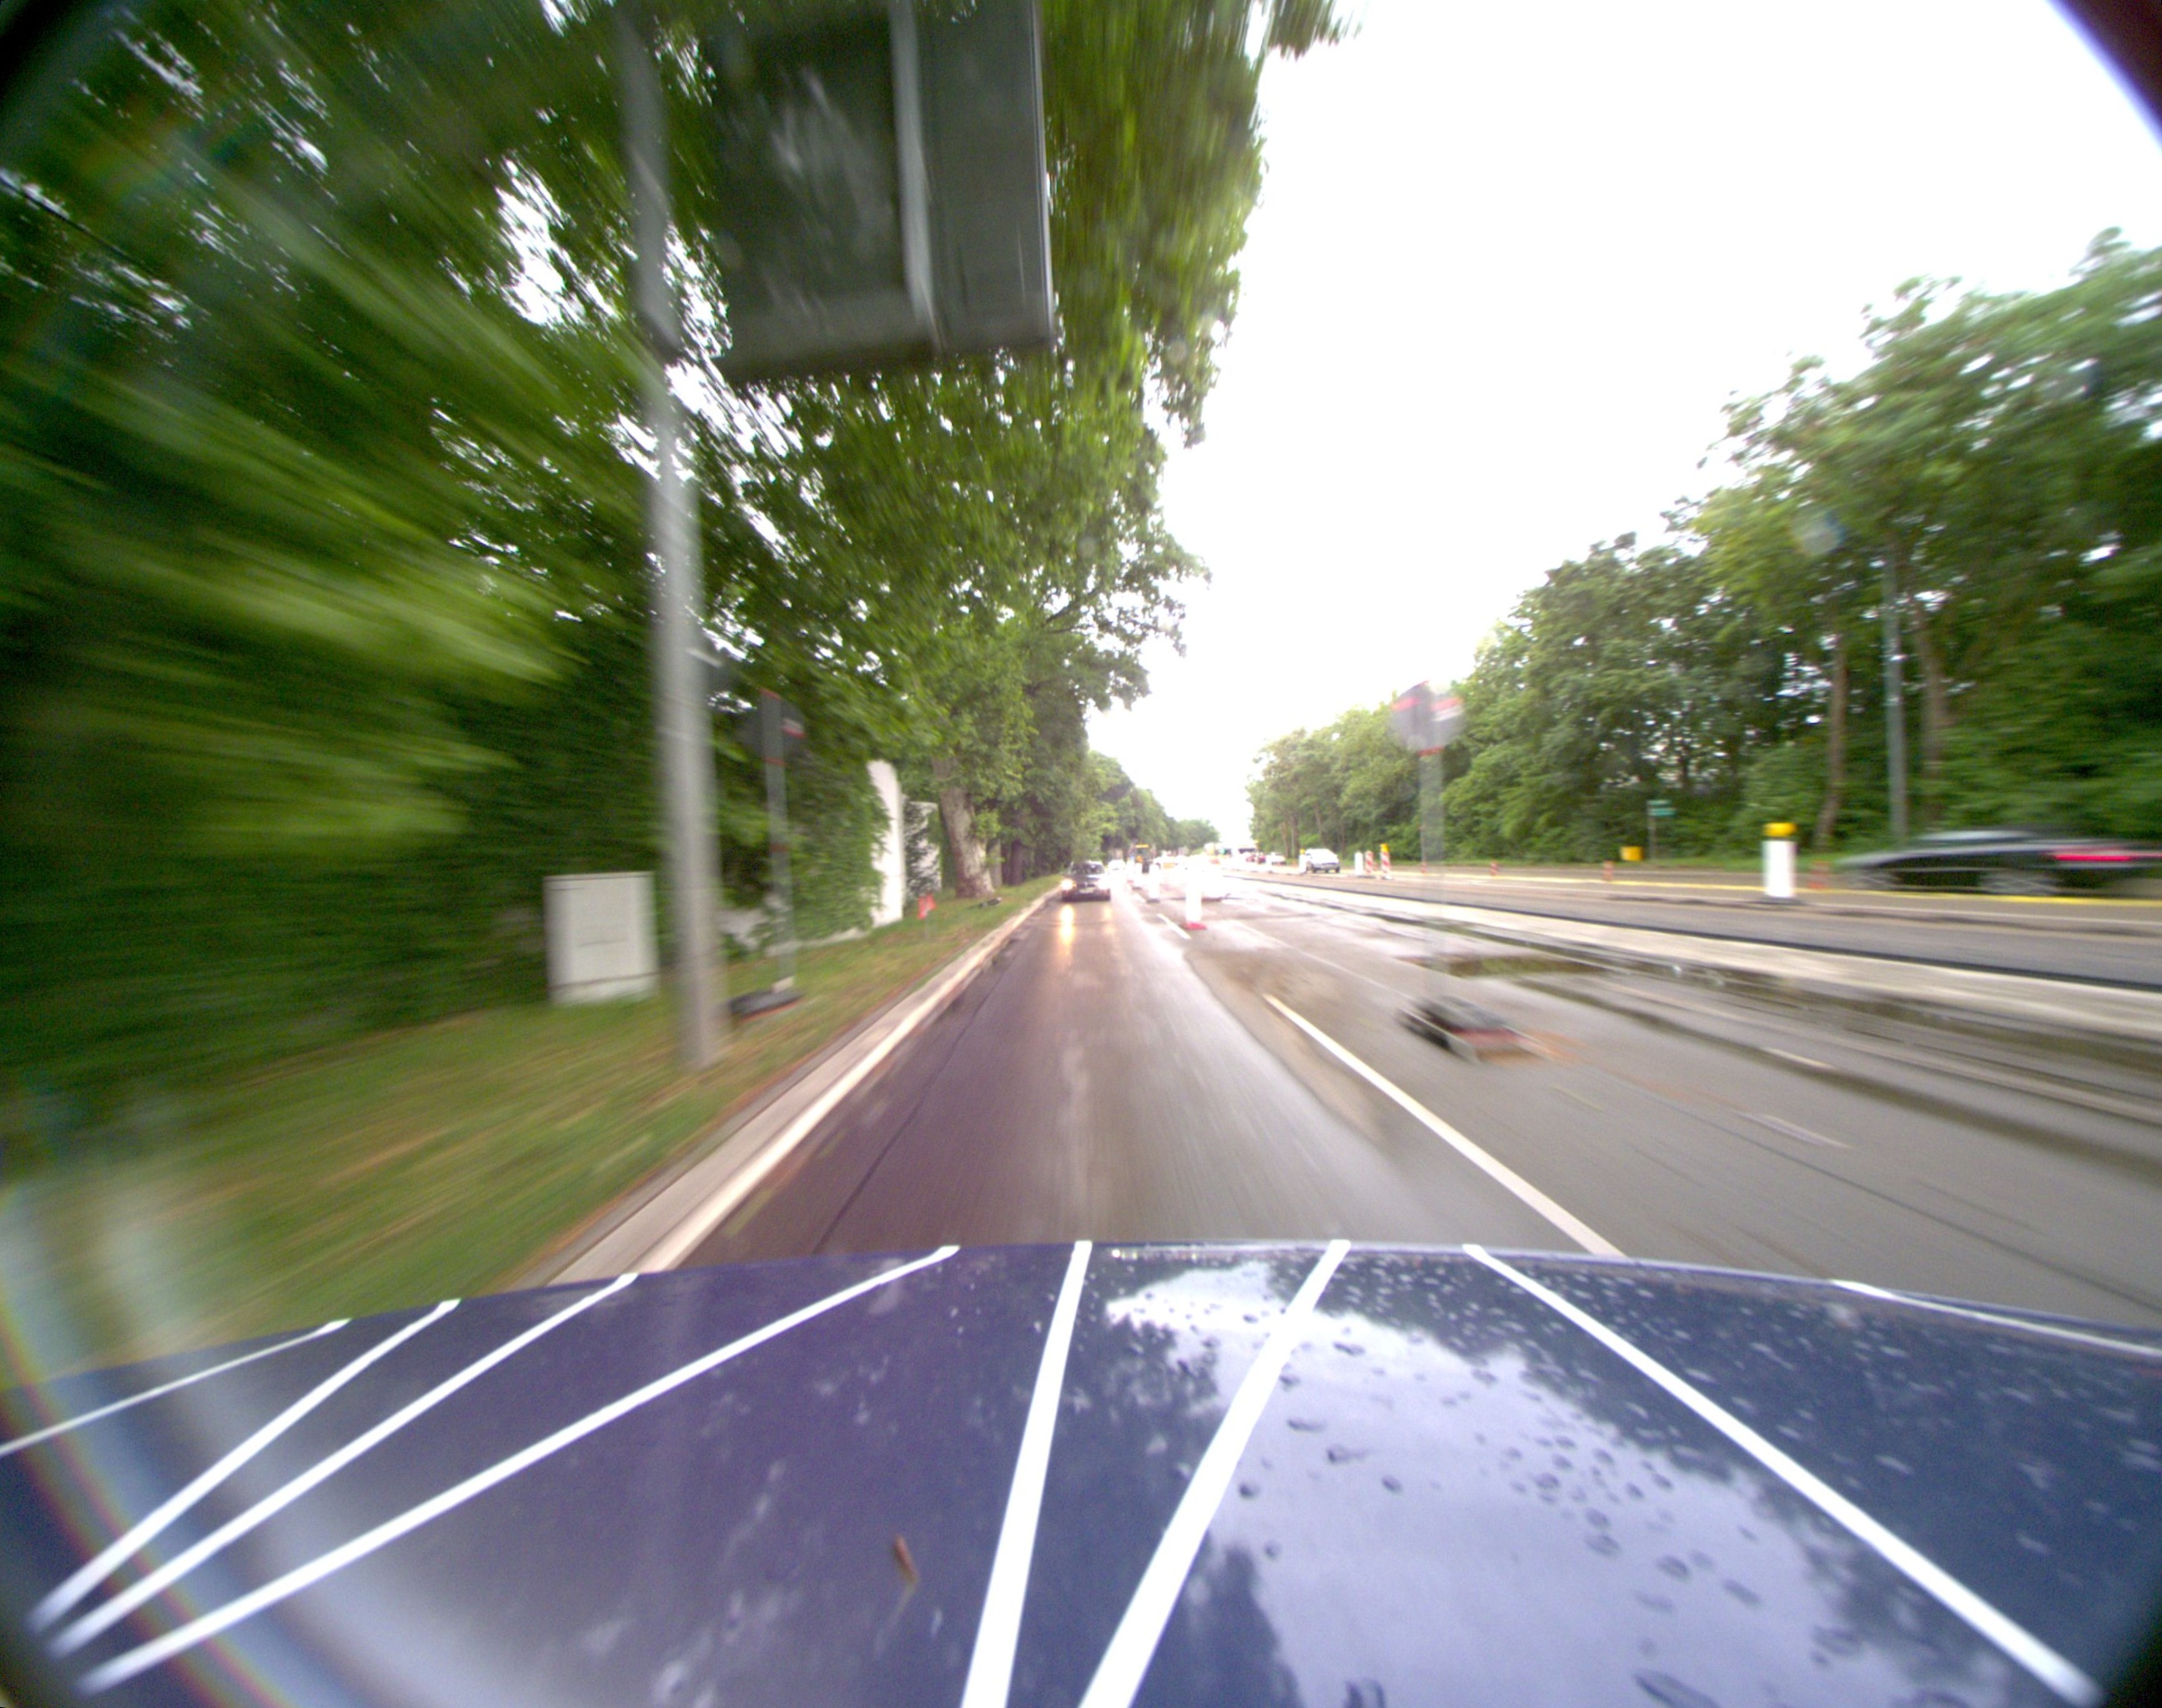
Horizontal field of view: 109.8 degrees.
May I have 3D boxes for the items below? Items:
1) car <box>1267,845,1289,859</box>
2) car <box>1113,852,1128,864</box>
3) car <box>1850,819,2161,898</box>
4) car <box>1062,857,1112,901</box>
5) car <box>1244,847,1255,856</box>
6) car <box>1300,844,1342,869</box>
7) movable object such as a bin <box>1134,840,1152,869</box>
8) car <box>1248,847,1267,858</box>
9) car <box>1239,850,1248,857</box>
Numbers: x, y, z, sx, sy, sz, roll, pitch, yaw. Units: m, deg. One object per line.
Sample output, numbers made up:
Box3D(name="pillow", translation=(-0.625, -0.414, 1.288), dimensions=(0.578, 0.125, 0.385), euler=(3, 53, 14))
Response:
Box3D(name="car", translation=(26.174, -0.289, 101.233), dimensions=(1.781, 1.741, 4.380), euler=(-2, 0, 1))
Box3D(name="car", translation=(5.643, 0.575, 108.282), dimensions=(1.707, 1.681, 4.474), euler=(-2, 1, 7))
Box3D(name="car", translation=(18.654, 0.082, 15.333), dimensions=(1.822, 1.347, 4.390), euler=(-1, 0, 0))
Box3D(name="car", translation=(0.218, 0.894, 28.765), dimensions=(1.701, 1.477, 3.999), euler=(-2, 1, 0))
Box3D(name="car", translation=(31.589, -0.462, 142.514), dimensions=(1.787, 1.444, 4.685), euler=(-2, 0, 9))
Box3D(name="car", translation=(16.167, 0.172, 51.382), dimensions=(1.793, 1.574, 3.862), euler=(-3, 0, 4))
Box3D(name="movable object such as a bin", translation=(6.664, 0.047, 81.597), dimensions=(1.807, 2.968, 5.247), euler=(-2, 0, 5))
Box3D(name="car", translation=(26.953, -0.188, 116.052), dimensions=(1.781, 1.654, 4.915), euler=(-1, 0, 1))
Box3D(name="car", translation=(36.432, -0.137, 170.791), dimensions=(1.787, 1.418, 4.472), euler=(-2, 0, 10))
